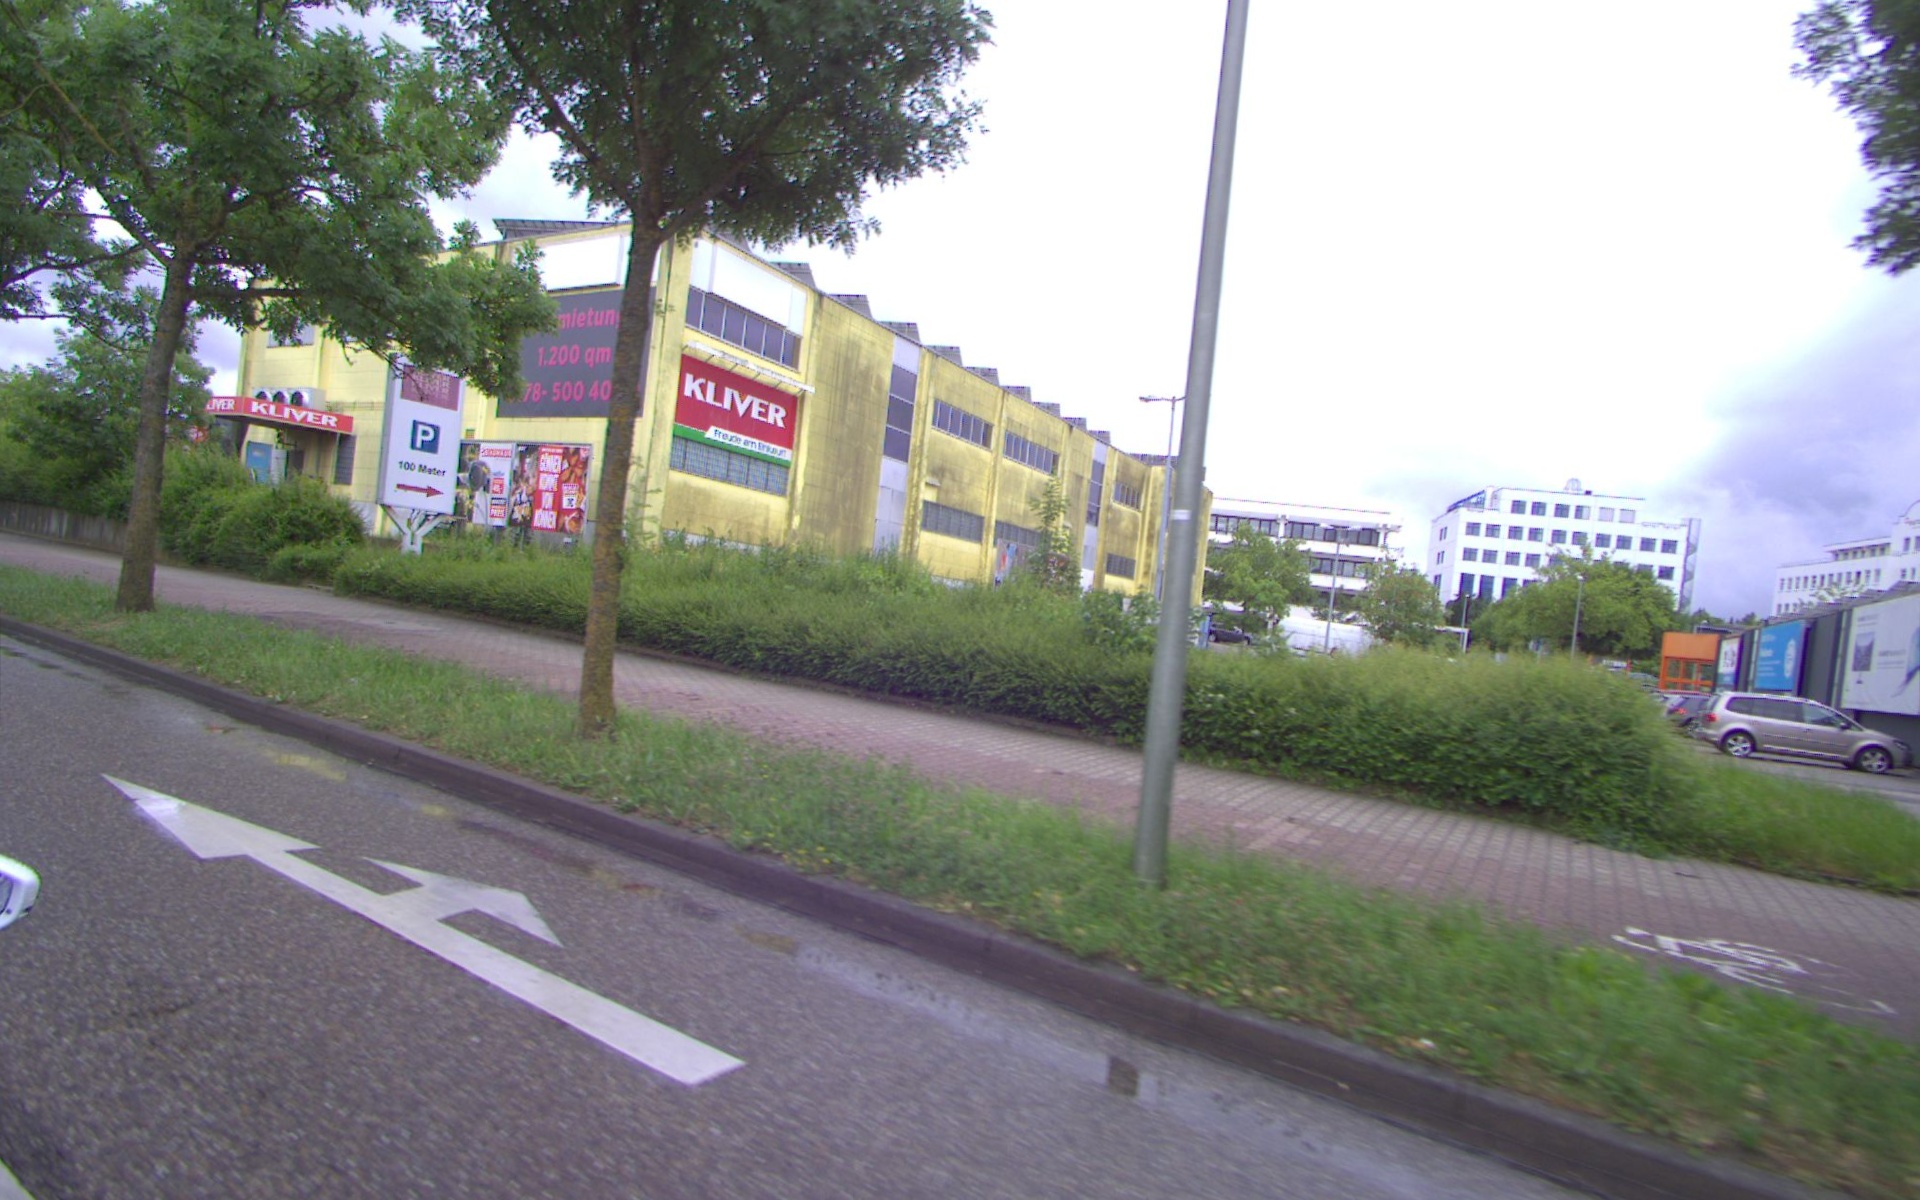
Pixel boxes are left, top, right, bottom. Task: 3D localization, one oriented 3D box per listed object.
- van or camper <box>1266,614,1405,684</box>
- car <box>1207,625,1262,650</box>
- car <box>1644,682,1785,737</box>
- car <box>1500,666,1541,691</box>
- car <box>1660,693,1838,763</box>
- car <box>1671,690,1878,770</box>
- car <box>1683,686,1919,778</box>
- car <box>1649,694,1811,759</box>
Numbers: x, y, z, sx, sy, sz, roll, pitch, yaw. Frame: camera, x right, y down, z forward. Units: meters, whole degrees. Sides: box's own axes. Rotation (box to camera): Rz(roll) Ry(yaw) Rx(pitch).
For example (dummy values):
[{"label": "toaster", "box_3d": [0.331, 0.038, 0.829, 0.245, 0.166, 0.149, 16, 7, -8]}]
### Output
[{"label": "van or camper", "box_3d": [15.759, 2.053, 42.304, 4.941, 2.282, 2.151, 7, 0, 32]}, {"label": "car", "box_3d": [22.298, 3.044, 81.716, 3.930, 1.459, 1.909, 7, 0, 27]}, {"label": "car", "box_3d": [31.285, 4.521, 41.885, 4.289, 1.593, 1.908, 7, 0, 29]}, {"label": "car", "box_3d": [43.362, 6.045, 77.903, 1.875, 1.593, 4.365, 7, -1, 19]}, {"label": "car", "box_3d": [26.397, 4.254, 33.866, 4.289, 1.593, 1.908, 7, 0, 29]}, {"label": "car", "box_3d": [23.707, 3.739, 29.515, 4.289, 1.593, 1.908, 7, 0, 29]}, {"label": "car", "box_3d": [21.505, 3.316, 25.921, 4.289, 1.593, 1.908, 7, 0, 29]}, {"label": "car", "box_3d": [27.900, 4.555, 36.648, 4.289, 1.593, 1.908, 7, 0, 29]}]
